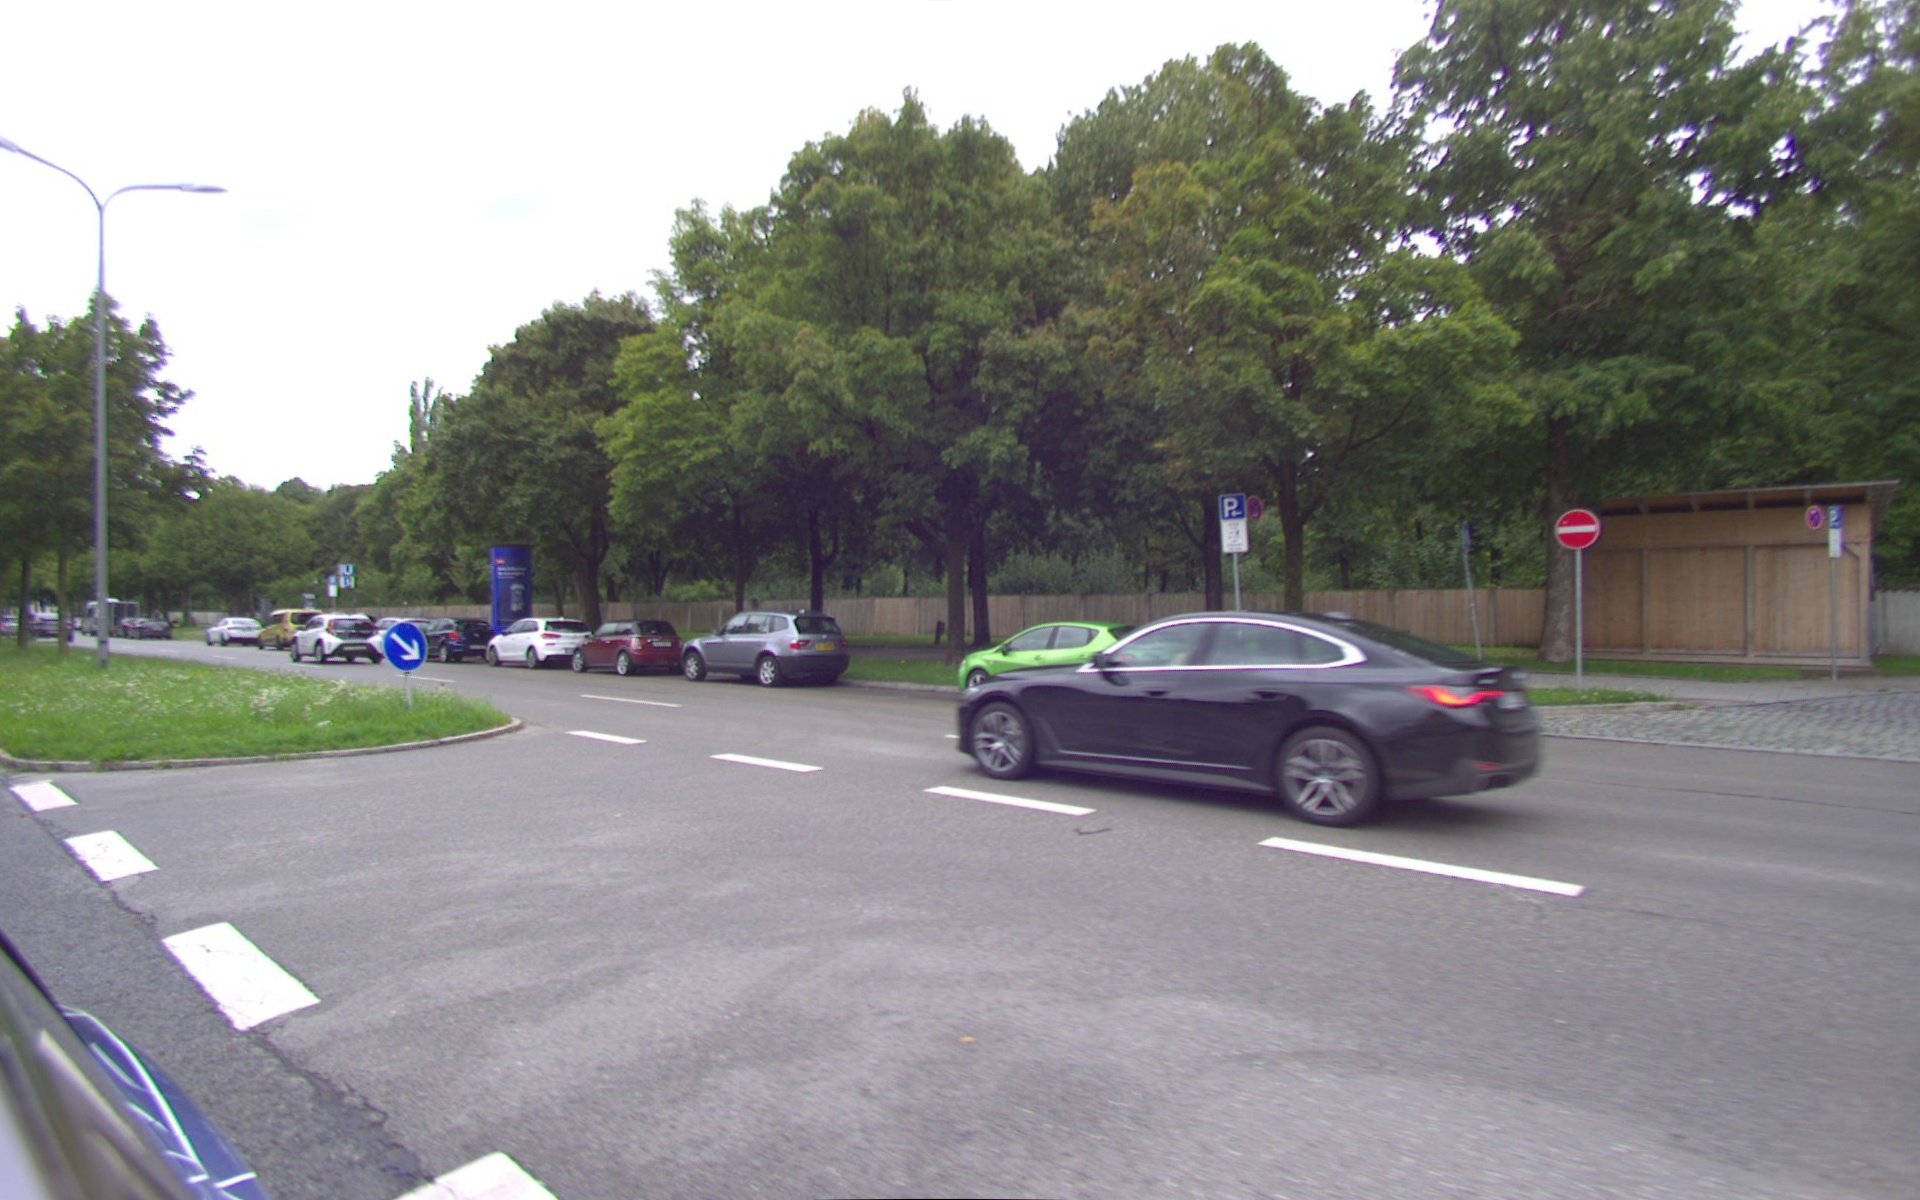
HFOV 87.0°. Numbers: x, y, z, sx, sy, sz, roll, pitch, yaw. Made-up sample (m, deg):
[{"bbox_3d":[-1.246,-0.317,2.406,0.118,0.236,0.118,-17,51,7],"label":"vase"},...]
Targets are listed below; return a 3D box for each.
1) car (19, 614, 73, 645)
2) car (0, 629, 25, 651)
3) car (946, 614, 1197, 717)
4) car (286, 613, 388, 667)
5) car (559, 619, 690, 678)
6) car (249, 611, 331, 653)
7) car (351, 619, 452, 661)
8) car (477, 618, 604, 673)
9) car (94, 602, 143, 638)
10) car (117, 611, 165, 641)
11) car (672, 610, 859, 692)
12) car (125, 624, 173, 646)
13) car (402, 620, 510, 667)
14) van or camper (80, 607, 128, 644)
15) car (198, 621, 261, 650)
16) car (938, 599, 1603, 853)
[{"bbox_3d":[-50.496,1.637,55.884,4.500,1.601,1.802,-2,-1,42],"label":"car"},{"bbox_3d":[-61.916,2.556,65.477,3.766,1.393,1.699,-1,-3,42],"label":"car"},{"bbox_3d":[1.774,1.028,16.928,4.000,1.511,1.622,-1,-3,43],"label":"car"},{"bbox_3d":[-19.419,1.203,31.485,3.721,1.565,1.801,-1,-1,43],"label":"car"},{"bbox_3d":[-8.822,1.237,26.495,3.686,1.433,1.632,-1,-4,43],"label":"car"},{"bbox_3d":[-30.258,1.430,45.641,4.530,1.784,1.838,-1,-2,40],"label":"car"},{"bbox_3d":[-20.589,1.440,37.239,4.297,1.481,1.803,-1,-2,40],"label":"car"},{"bbox_3d":[-12.448,1.325,29.912,4.259,1.488,1.801,-1,-4,43],"label":"car"},{"bbox_3d":[-62.708,1.503,75.365,4.496,2.611,1.973,-1,-2,40],"label":"car"},{"bbox_3d":[-56.962,1.786,70.348,3.998,2.029,1.972,-1,-1,42],"label":"car"},{"bbox_3d":[-4.428,1.083,22.649,4.455,1.643,1.802,-1,-2,42],"label":"car"},{"bbox_3d":[-53.621,2.307,66.894,4.038,1.420,1.695,-1,-2,40],"label":"car"},{"bbox_3d":[-16.782,1.438,33.635,3.785,1.457,1.803,-1,-3,40],"label":"car"},{"bbox_3d":[-66.481,1.973,78.600,4.928,2.829,1.973,-1,-2,40],"label":"van or camper"},{"bbox_3d":[-38.024,1.830,52.660,4.038,1.454,1.695,-1,-2,40],"label":"car"},{"bbox_3d":[2.183,0.774,8.090,4.780,1.459,1.796,-1,-2,41],"label":"car"}]
